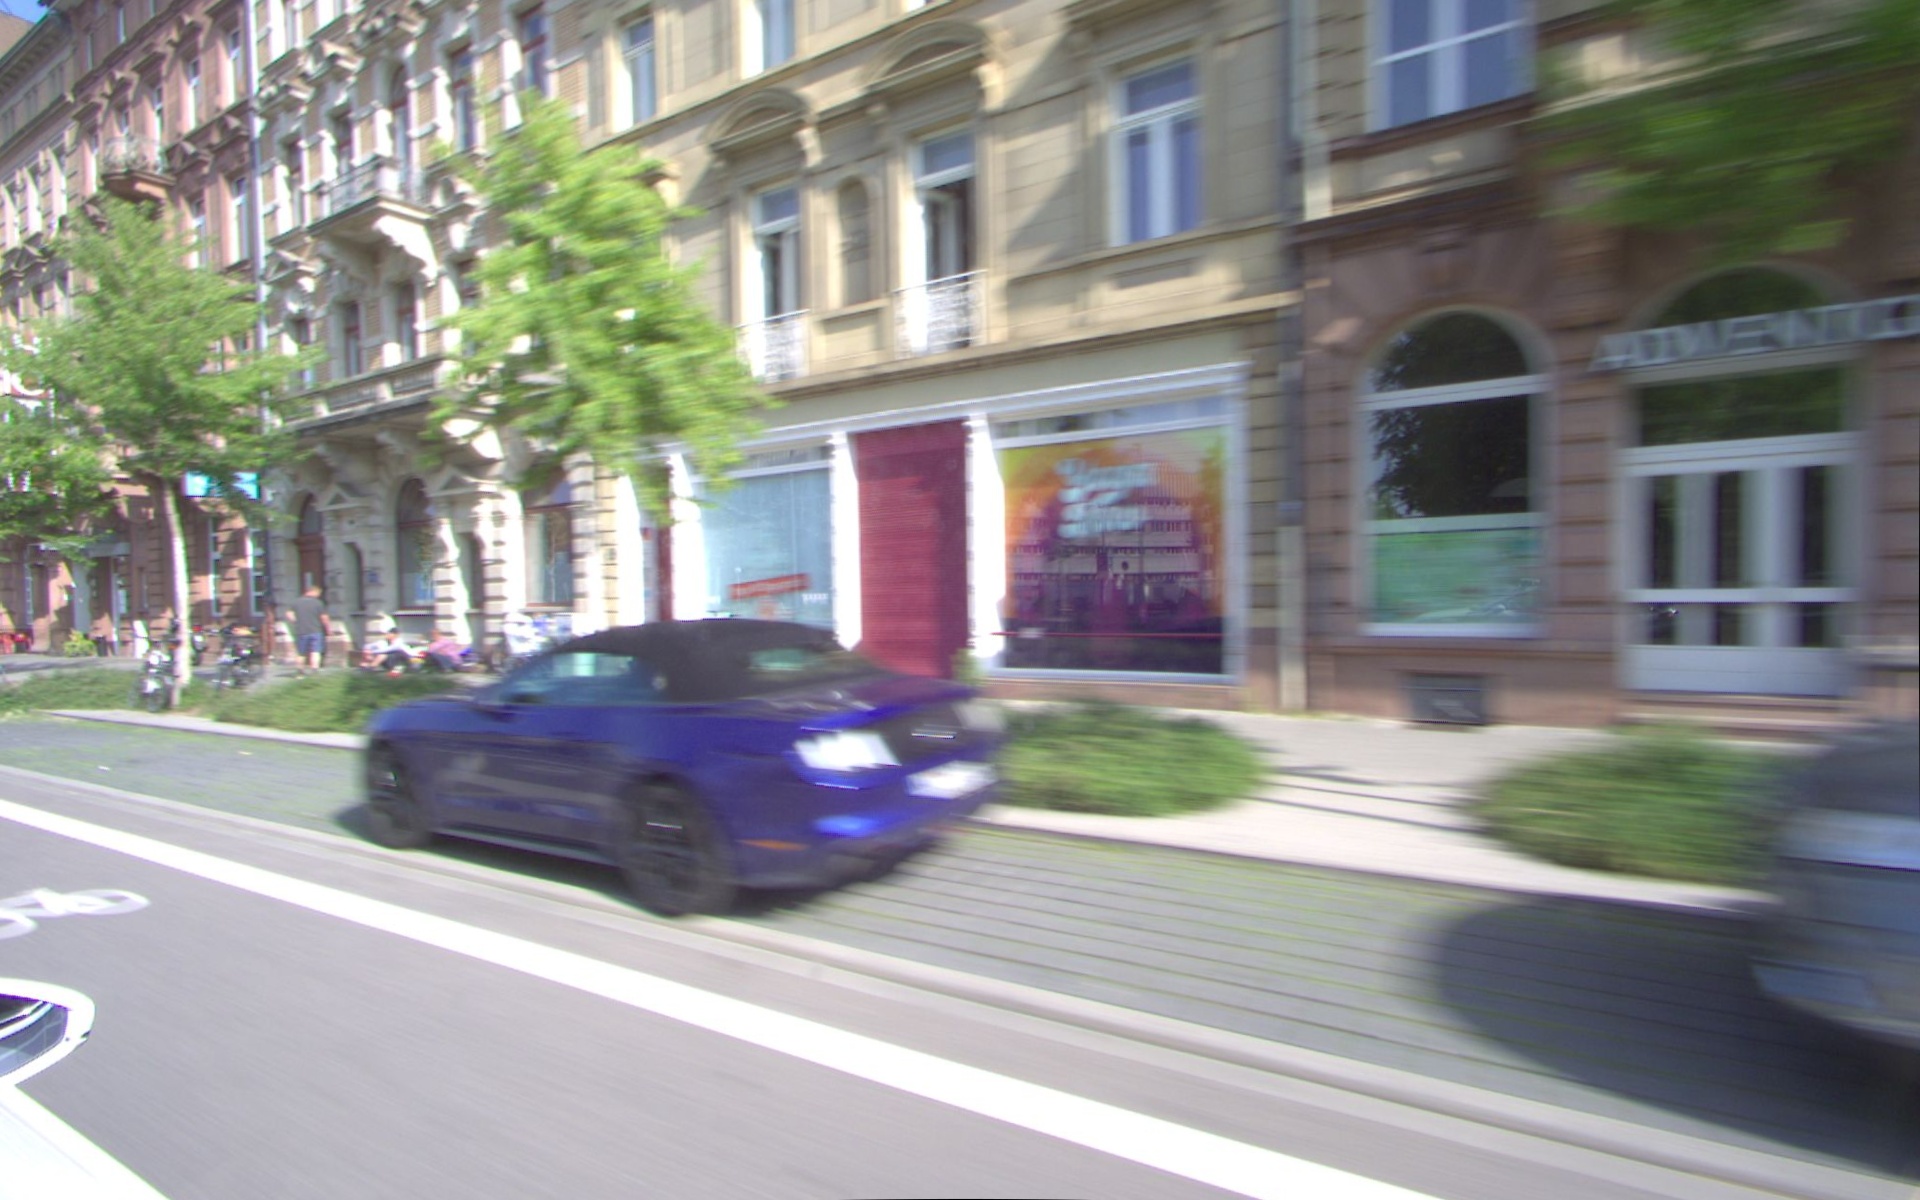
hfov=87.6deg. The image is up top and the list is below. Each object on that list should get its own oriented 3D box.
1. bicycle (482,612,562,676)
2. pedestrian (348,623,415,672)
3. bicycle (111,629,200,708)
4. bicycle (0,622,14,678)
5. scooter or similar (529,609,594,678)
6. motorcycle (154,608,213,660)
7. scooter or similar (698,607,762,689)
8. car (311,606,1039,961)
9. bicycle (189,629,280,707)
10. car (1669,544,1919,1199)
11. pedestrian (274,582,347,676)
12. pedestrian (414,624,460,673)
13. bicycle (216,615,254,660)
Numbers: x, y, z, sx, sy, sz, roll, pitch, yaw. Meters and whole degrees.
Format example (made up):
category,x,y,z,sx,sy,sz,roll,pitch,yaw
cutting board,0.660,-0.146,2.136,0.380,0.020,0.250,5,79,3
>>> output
category,x,y,z,sx,sy,sz,roll,pitch,yaw
bicycle,-7.800,0.765,17.812,1.424,1.098,0.451,0,1,24
pedestrian,-11.271,0.913,19.518,0.700,0.889,0.876,0,3,30
bicycle,-12.115,1.000,15.063,1.801,1.108,0.491,0,1,33
bicycle,-19.984,1.035,20.728,0.501,1.074,1.697,-3,3,-42
scooter or similar,-6.803,0.733,17.098,0.918,1.140,0.605,0,1,33
motorcycle,-18.715,0.814,24.125,1.918,1.192,0.462,-1,3,33
scooter or similar,-3.336,0.683,14.487,1.075,1.149,0.287,0,1,39
car,-1.964,0.781,6.172,4.650,1.415,1.731,0,2,34
bicycle,-10.984,0.994,15.213,0.447,1.096,1.875,-2,-1,-15
car,4.289,0.635,2.274,4.183,1.610,1.766,0,2,29
pedestrian,-12.338,0.535,19.035,0.781,1.720,0.821,0,3,29
pedestrian,-9.786,0.892,18.740,0.450,0.867,0.569,0,3,27
bicycle,-17.073,0.882,23.589,1.239,1.032,0.395,-1,0,38
